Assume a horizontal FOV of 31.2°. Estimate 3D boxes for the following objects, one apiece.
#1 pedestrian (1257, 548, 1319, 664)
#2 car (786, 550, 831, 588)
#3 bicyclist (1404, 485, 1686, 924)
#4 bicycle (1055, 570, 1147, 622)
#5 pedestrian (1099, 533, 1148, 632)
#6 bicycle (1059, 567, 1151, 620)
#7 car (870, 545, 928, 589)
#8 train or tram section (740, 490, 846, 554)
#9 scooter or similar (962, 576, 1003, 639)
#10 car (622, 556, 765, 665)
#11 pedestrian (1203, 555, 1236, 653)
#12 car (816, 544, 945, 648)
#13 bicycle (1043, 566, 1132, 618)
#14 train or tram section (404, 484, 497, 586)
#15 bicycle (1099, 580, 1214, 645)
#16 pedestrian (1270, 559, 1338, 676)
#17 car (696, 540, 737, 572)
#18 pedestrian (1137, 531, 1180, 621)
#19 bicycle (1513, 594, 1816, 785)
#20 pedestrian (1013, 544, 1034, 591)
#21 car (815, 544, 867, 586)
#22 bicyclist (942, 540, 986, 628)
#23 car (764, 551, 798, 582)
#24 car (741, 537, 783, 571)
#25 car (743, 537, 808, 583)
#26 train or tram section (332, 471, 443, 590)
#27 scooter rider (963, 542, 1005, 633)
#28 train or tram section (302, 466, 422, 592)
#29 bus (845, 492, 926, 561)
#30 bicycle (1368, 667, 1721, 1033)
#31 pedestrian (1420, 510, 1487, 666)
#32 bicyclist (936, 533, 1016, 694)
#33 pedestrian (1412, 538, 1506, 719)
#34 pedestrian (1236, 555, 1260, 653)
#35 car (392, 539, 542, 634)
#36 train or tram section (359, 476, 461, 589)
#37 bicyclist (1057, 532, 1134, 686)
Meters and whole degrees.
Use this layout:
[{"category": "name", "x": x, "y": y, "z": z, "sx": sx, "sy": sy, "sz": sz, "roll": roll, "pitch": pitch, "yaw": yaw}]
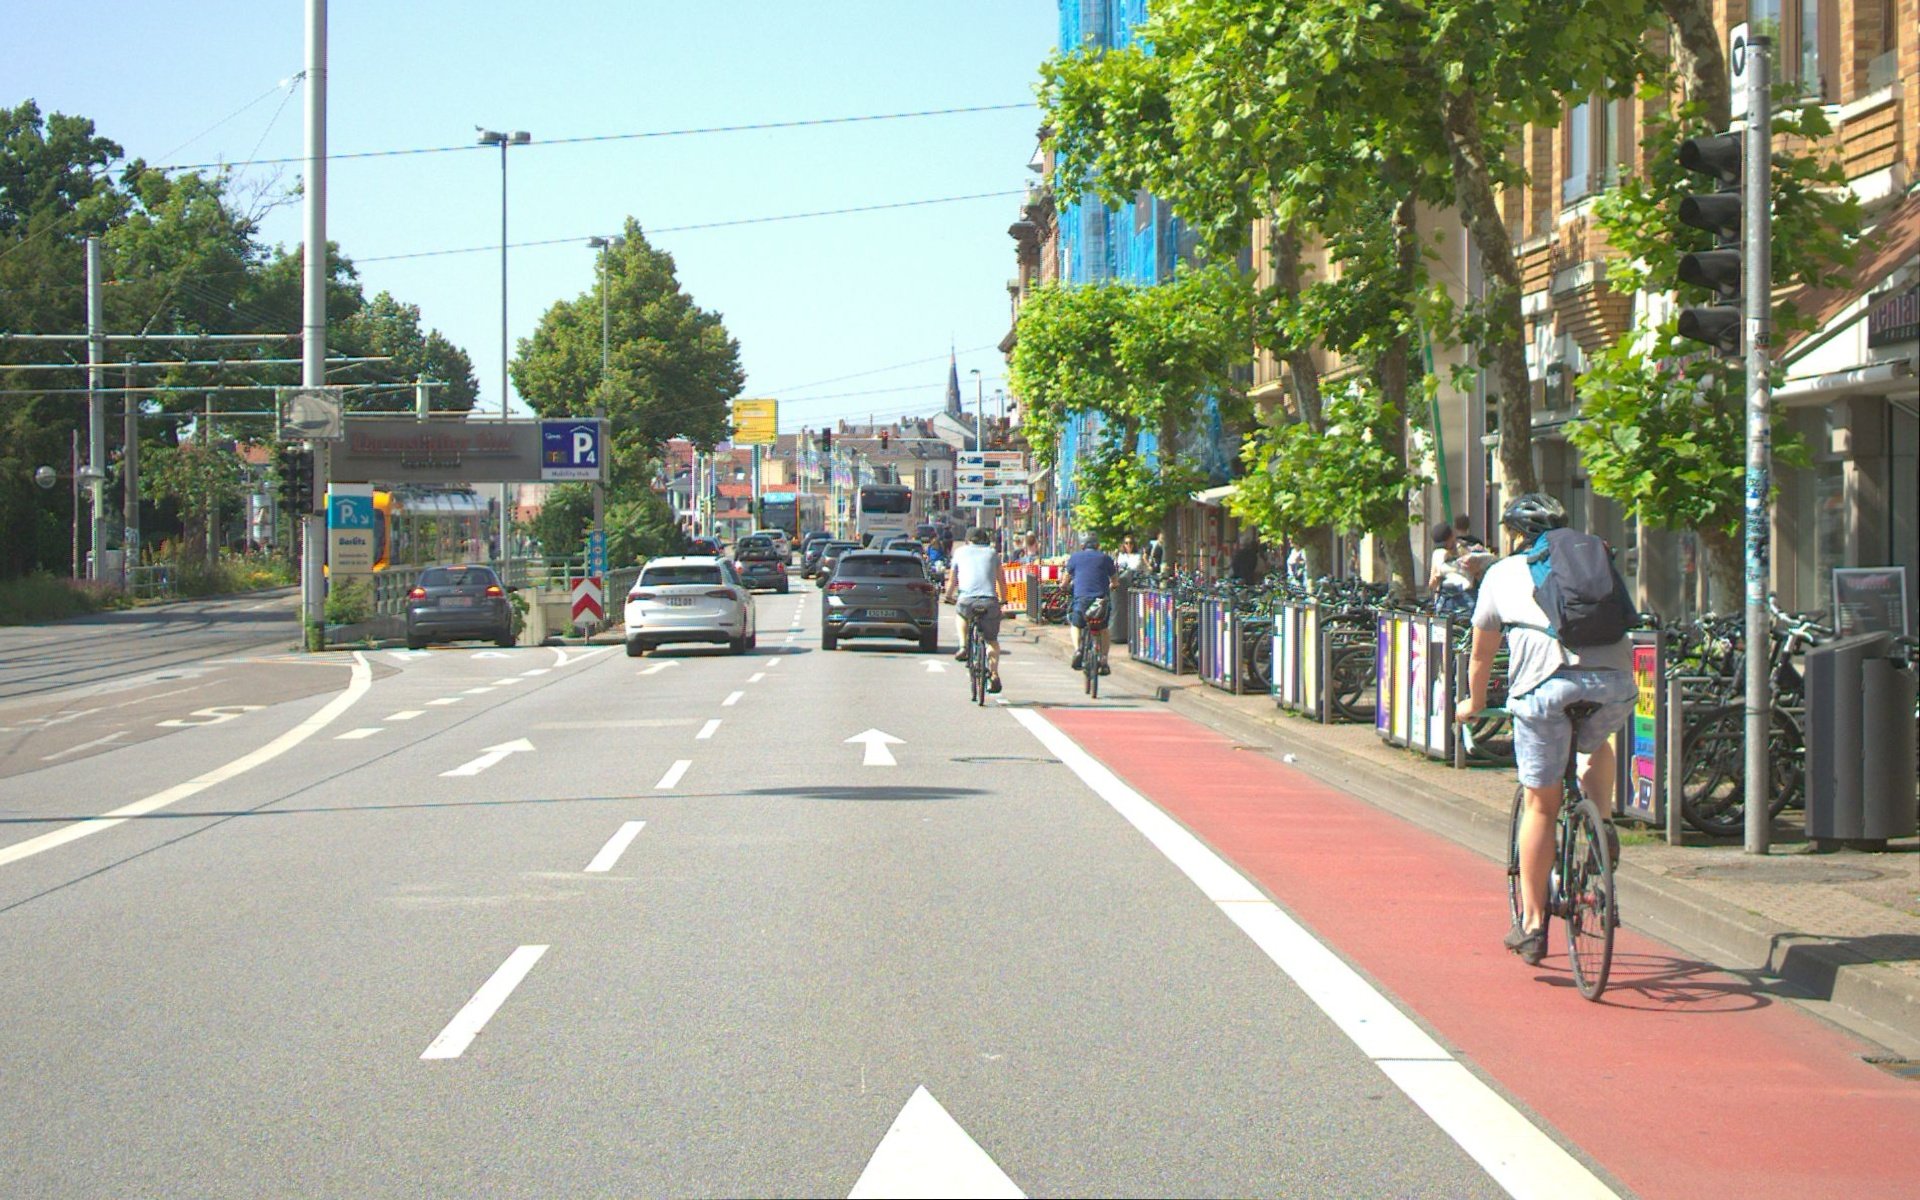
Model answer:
[{"category": "pedestrian", "x": 4.674, "y": 0.087, "z": 49.052, "sx": 0.599, "sy": 1.620, "sz": 0.644, "roll": -3, "pitch": 1, "yaw": -19}, {"category": "car", "x": -5.438, "y": -1.107, "z": 123.689, "sx": 1.451, "sy": 1.296, "sz": 3.342, "roll": 2, "pitch": 1, "yaw": -1}, {"category": "bicyclist", "x": 2.045, "y": 0.347, "z": 12.153, "sx": 0.688, "sy": 1.458, "sz": 1.143, "roll": 2, "pitch": 0, "yaw": -3}, {"category": "bicycle", "x": 2.772, "y": -0.080, "z": 67.757, "sx": 1.752, "sy": 1.014, "sz": 0.483, "roll": 0, "pitch": 0, "yaw": -4}, {"category": "pedestrian", "x": 2.790, "y": -0.301, "z": 58.670, "sx": 0.656, "sy": 1.677, "sz": 0.653, "roll": 0, "pitch": 0, "yaw": -17}, {"category": "bicycle", "x": 2.836, "y": -0.136, "z": 67.200, "sx": 1.752, "sy": 1.014, "sz": 0.483, "roll": 0, "pitch": 0, "yaw": -4}, {"category": "car", "x": -2.214, "y": -1.207, "z": 124.404, "sx": 1.993, "sy": 1.487, "sz": 4.000, "roll": 2, "pitch": 1, "yaw": -1}, {"category": "train or tram section", "x": -10.043, "y": -4.665, "z": 208.165, "sx": 2.825, "sy": 3.569, "sz": 10.022, "roll": 2, "pitch": 1, "yaw": 19}, {"category": "scooter or similar", "x": 0.427, "y": 0.147, "z": 65.854, "sx": 0.688, "sy": 1.163, "sz": 1.464, "roll": 2, "pitch": 0, "yaw": -3}, {"category": "car", "x": -3.971, "y": 0.132, "z": 51.829, "sx": 1.858, "sy": 1.502, "sz": 4.000, "roll": 2, "pitch": 1, "yaw": -1}, {"category": "pedestrian", "x": 4.470, "y": 0.069, "z": 59.157, "sx": 0.498, "sy": 1.677, "sz": 0.537, "roll": -2, "pitch": 0, "yaw": 8}, {"category": "car", "x": -1.217, "y": -0.074, "z": 53.325, "sx": 1.873, "sy": 1.487, "sz": 4.000, "roll": 2, "pitch": 1, "yaw": -1}, {"category": "bicycle", "x": 2.563, "y": -0.165, "z": 69.144, "sx": 1.752, "sy": 1.014, "sz": 0.483, "roll": 0, "pitch": 0, "yaw": -4}, {"category": "train or tram section", "x": -18.780, "y": -2.375, "z": 127.005, "sx": 2.613, "sy": 3.569, "sz": 6.018, "roll": 2, "pitch": 1, "yaw": -2}, {"category": "bicycle", "x": 3.097, "y": 0.196, "z": 54.243, "sx": 1.752, "sy": 1.014, "sz": 0.587, "roll": 0, "pitch": 1, "yaw": -4}, {"category": "pedestrian", "x": 4.835, "y": 0.241, "z": 48.337, "sx": 0.695, "sy": 1.620, "sz": 0.702, "roll": -1, "pitch": 1, "yaw": -19}, {"category": "car", "x": -10.242, "y": -1.839, "z": 144.778, "sx": 1.451, "sy": 1.296, "sz": 4.000, "roll": 2, "pitch": 1, "yaw": -1}, {"category": "pedestrian", "x": 4.141, "y": -0.492, "z": 71.624, "sx": 0.814, "sy": 1.842, "sz": 0.891, "roll": -1, "pitch": 0, "yaw": 6}, {"category": "bicycle", "x": 4.326, "y": 0.546, "z": 21.148, "sx": 1.752, "sy": 1.143, "sz": 0.483, "roll": 0, "pitch": 0, "yaw": -4}, {"category": "pedestrian", "x": 2.186, "y": -1.117, "z": 117.997, "sx": 0.654, "sy": 1.615, "sz": 0.815, "roll": -1, "pitch": 2, "yaw": -3}, {"category": "car", "x": -3.839, "y": -1.136, "z": 110.752, "sx": 1.451, "sy": 1.296, "sz": 3.342, "roll": 2, "pitch": 1, "yaw": -5}, {"category": "bicyclist", "x": 0.068, "y": -0.291, "z": 63.009, "sx": 0.688, "sy": 1.571, "sz": 1.049, "roll": 2, "pitch": 0, "yaw": -3}, {"category": "car", "x": -8.079, "y": -1.516, "z": 155.280, "sx": 1.451, "sy": 1.296, "sz": 3.342, "roll": 2, "pitch": 1, "yaw": -2}, {"category": "car", "x": -7.925, "y": -1.829, "z": 137.792, "sx": 1.451, "sy": 1.296, "sz": 4.000, "roll": 2, "pitch": 1, "yaw": -1}, {"category": "car", "x": -5.628, "y": -1.227, "z": 105.210, "sx": 1.815, "sy": 1.328, "sz": 4.000, "roll": 2, "pitch": 1, "yaw": -1}, {"category": "train or tram section", "x": -18.045, "y": -2.166, "z": 108.667, "sx": 2.613, "sy": 3.569, "sz": 6.104, "roll": 2, "pitch": 1, "yaw": -2}, {"category": "scooter rider", "x": 0.457, "y": -0.243, "z": 65.889, "sx": 0.688, "sy": 1.723, "sz": 0.778, "roll": 2, "pitch": 0, "yaw": -2}, {"category": "train or tram section", "x": -17.788, "y": -2.096, "z": 102.571, "sx": 2.613, "sy": 3.569, "sz": 6.104, "roll": 2, "pitch": 1, "yaw": -2}, {"category": "bus", "x": -3.260, "y": -3.122, "z": 148.232, "sx": 2.968, "sy": 2.767, "sz": 8.643, "roll": 2, "pitch": 1, "yaw": -4}, {"category": "bicycle", "x": 2.012, "y": 0.828, "z": 12.149, "sx": 0.734, "sy": 1.089, "sz": 2.131, "roll": 2, "pitch": 1, "yaw": -3}, {"category": "pedestrian", "x": 5.680, "y": -0.140, "z": 39.606, "sx": 0.668, "sy": 1.775, "sz": 0.985, "roll": 0, "pitch": 0, "yaw": 2}, {"category": "bicyclist", "x": 0.151, "y": 0.125, "z": 34.569, "sx": 0.688, "sy": 1.571, "sz": 1.049, "roll": 2, "pitch": 0, "yaw": -3}, {"category": "pedestrian", "x": 4.586, "y": 0.257, "z": 31.626, "sx": 0.652, "sy": 1.628, "sz": 0.730, "roll": 2, "pitch": 0, "yaw": -4}, {"category": "pedestrian", "x": 4.983, "y": 0.063, "z": 59.512, "sx": 0.380, "sy": 1.677, "sz": 0.477, "roll": -1, "pitch": 0, "yaw": 5}, {"category": "car", "x": -8.374, "y": -0.239, "z": 58.712, "sx": 1.993, "sy": 1.503, "sz": 4.000, "roll": 2, "pitch": 1, "yaw": -1}, {"category": "train or tram section", "x": -18.266, "y": -2.231, "z": 114.403, "sx": 2.613, "sy": 3.569, "sz": 5.357, "roll": 2, "pitch": 1, "yaw": -2}, {"category": "bicyclist", "x": 1.445, "y": 0.091, "z": 36.906, "sx": 0.688, "sy": 1.611, "sz": 0.918, "roll": 2, "pitch": 0, "yaw": -3}]
